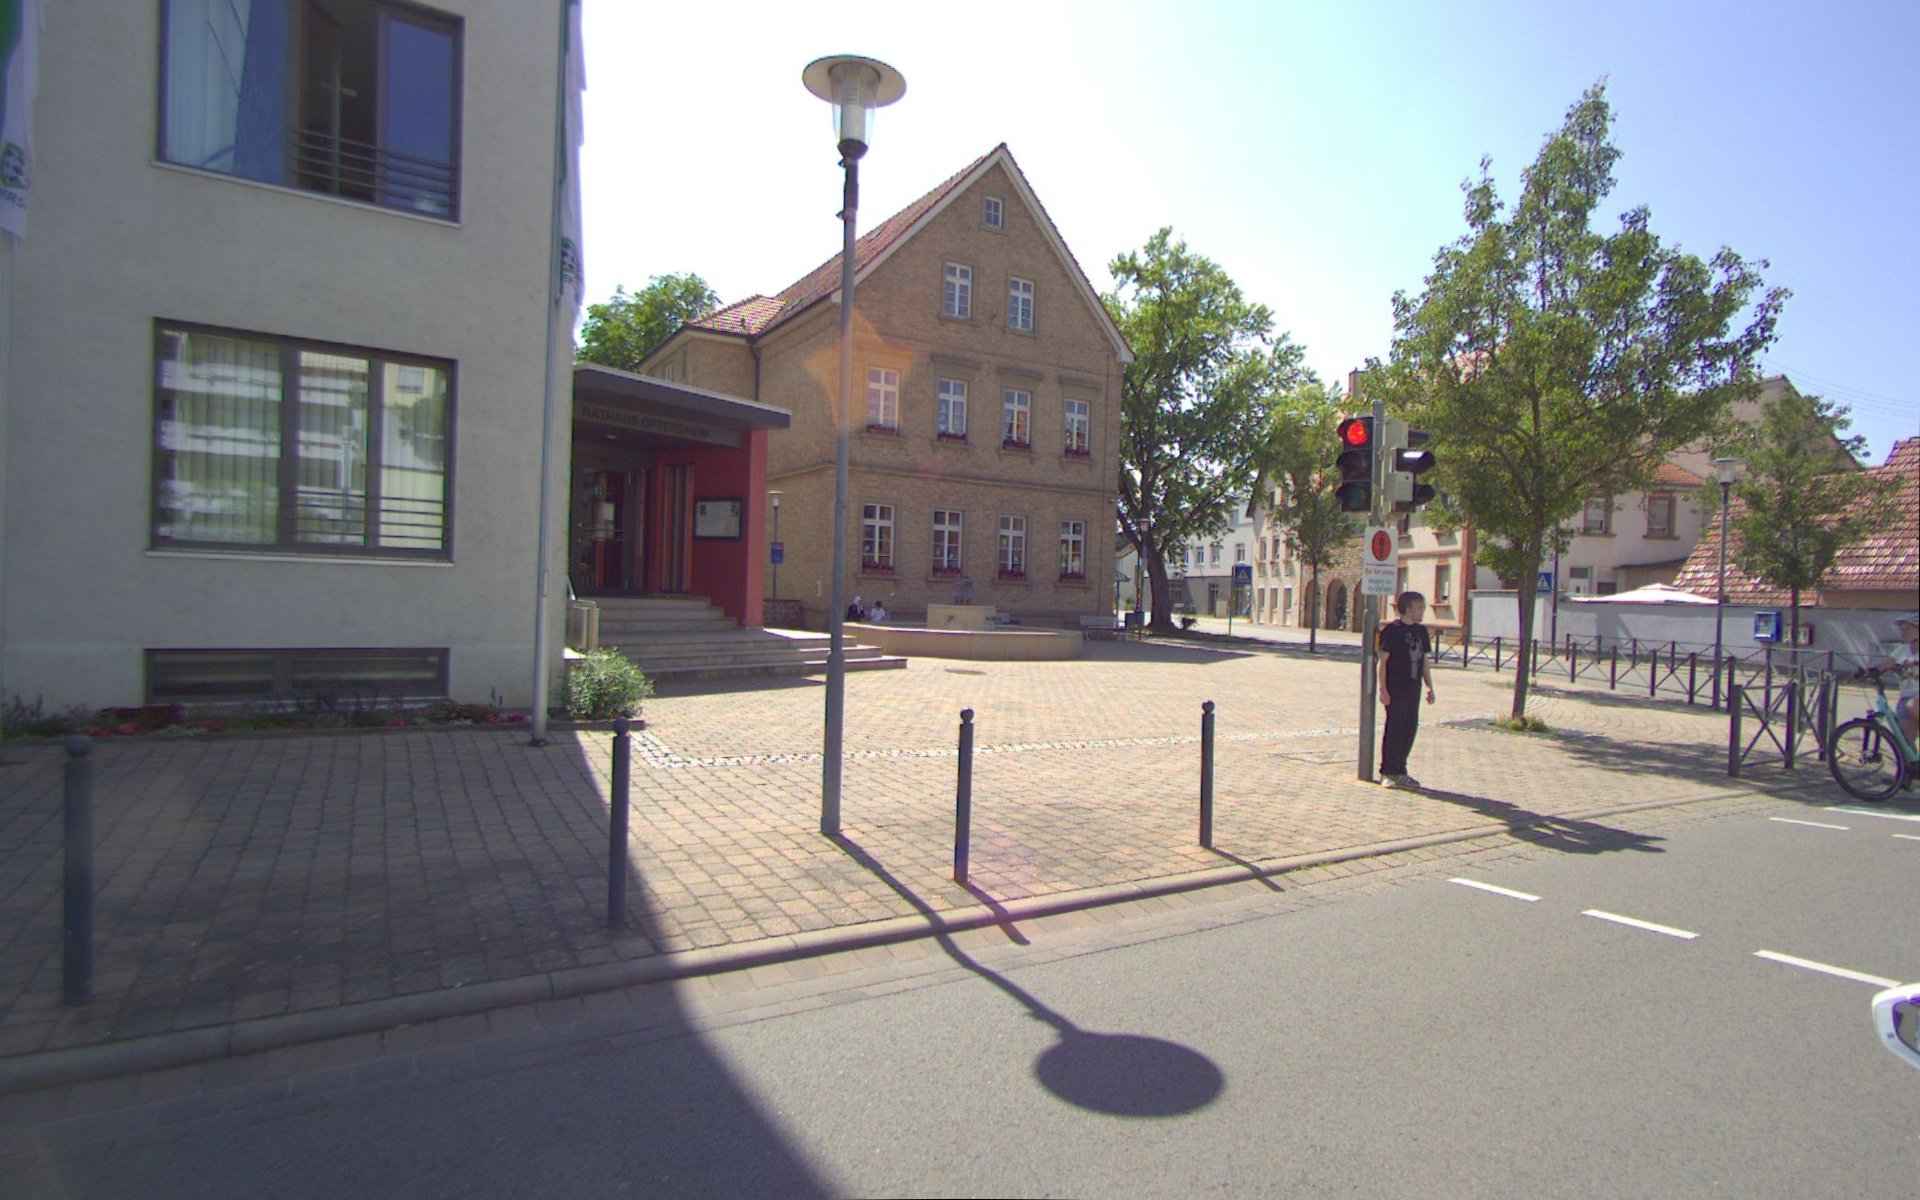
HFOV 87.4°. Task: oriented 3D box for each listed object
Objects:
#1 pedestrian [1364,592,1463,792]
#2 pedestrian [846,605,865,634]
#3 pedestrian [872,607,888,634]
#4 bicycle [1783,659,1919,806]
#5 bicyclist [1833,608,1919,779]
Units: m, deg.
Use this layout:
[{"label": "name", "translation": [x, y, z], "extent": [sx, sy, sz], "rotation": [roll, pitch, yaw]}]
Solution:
[{"label": "pedestrian", "translation": [3.901, 0.768, 8.668], "extent": [0.546, 1.640, 0.550], "rotation": [3, 0, 4]}, {"label": "pedestrian", "translation": [-2.961, 0.550, 28.382], "extent": [0.356, 0.828, 0.365], "rotation": [2, 0, 42]}, {"label": "pedestrian", "translation": [-2.307, 0.585, 28.877], "extent": [0.352, 0.742, 0.288], "rotation": [2, 0, 43]}, {"label": "bicycle", "translation": [8.832, 1.202, 9.333], "extent": [1.935, 1.268, 0.710], "rotation": [1, -1, -8]}, {"label": "bicyclist", "translation": [8.942, 0.865, 9.408], "extent": [0.855, 1.526, 0.716], "rotation": [1, -4, -7]}]
